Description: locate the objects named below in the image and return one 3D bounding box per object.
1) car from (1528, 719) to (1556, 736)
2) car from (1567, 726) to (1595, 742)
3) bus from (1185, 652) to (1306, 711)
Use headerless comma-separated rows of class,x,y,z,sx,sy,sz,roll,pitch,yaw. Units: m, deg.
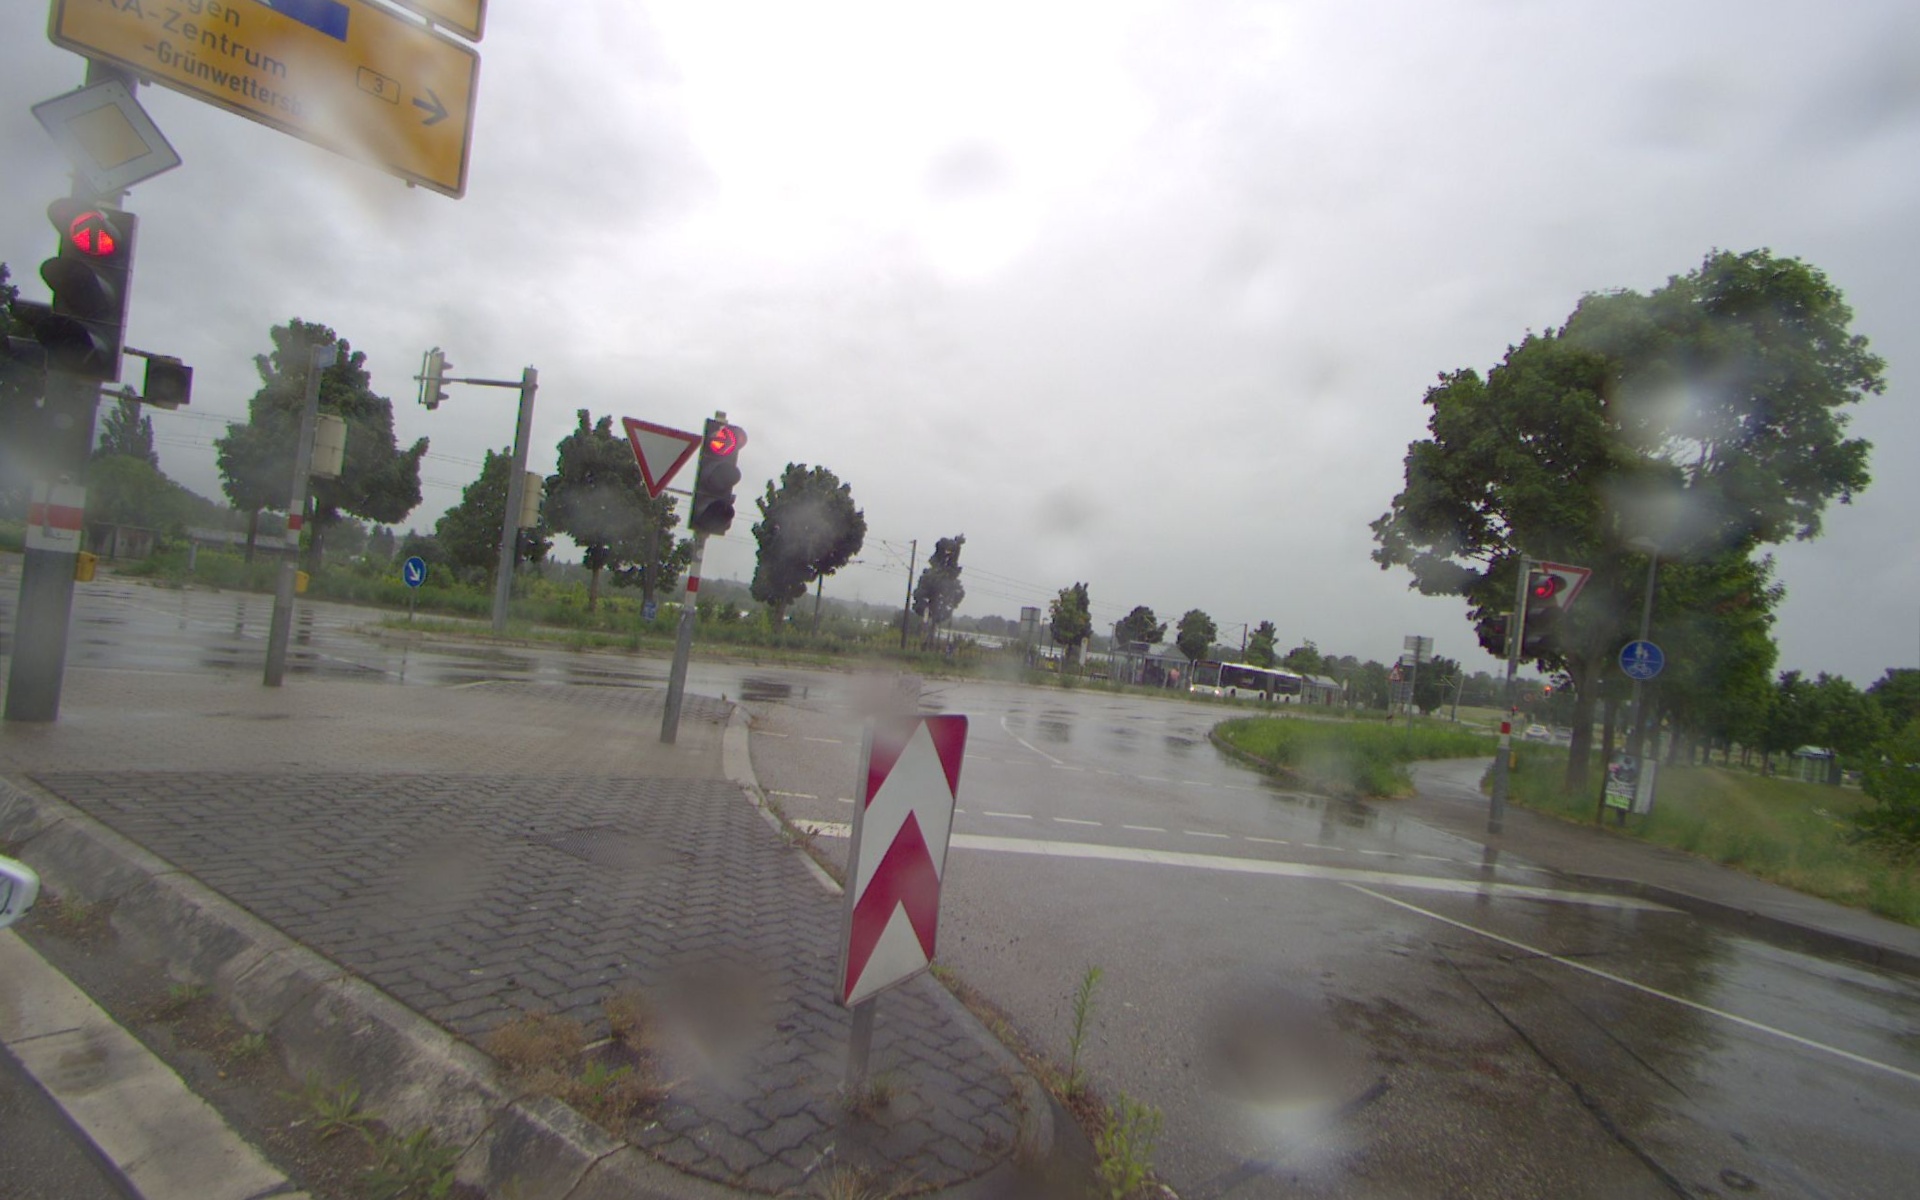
car,57.967,12.652,100.218,1.851,1.370,4.039,7,-1,37
car,64.114,13.832,103.808,1.853,1.370,4.036,6,-2,40
bus,24.317,7.025,84.325,2.715,3.828,18.378,7,-2,38
